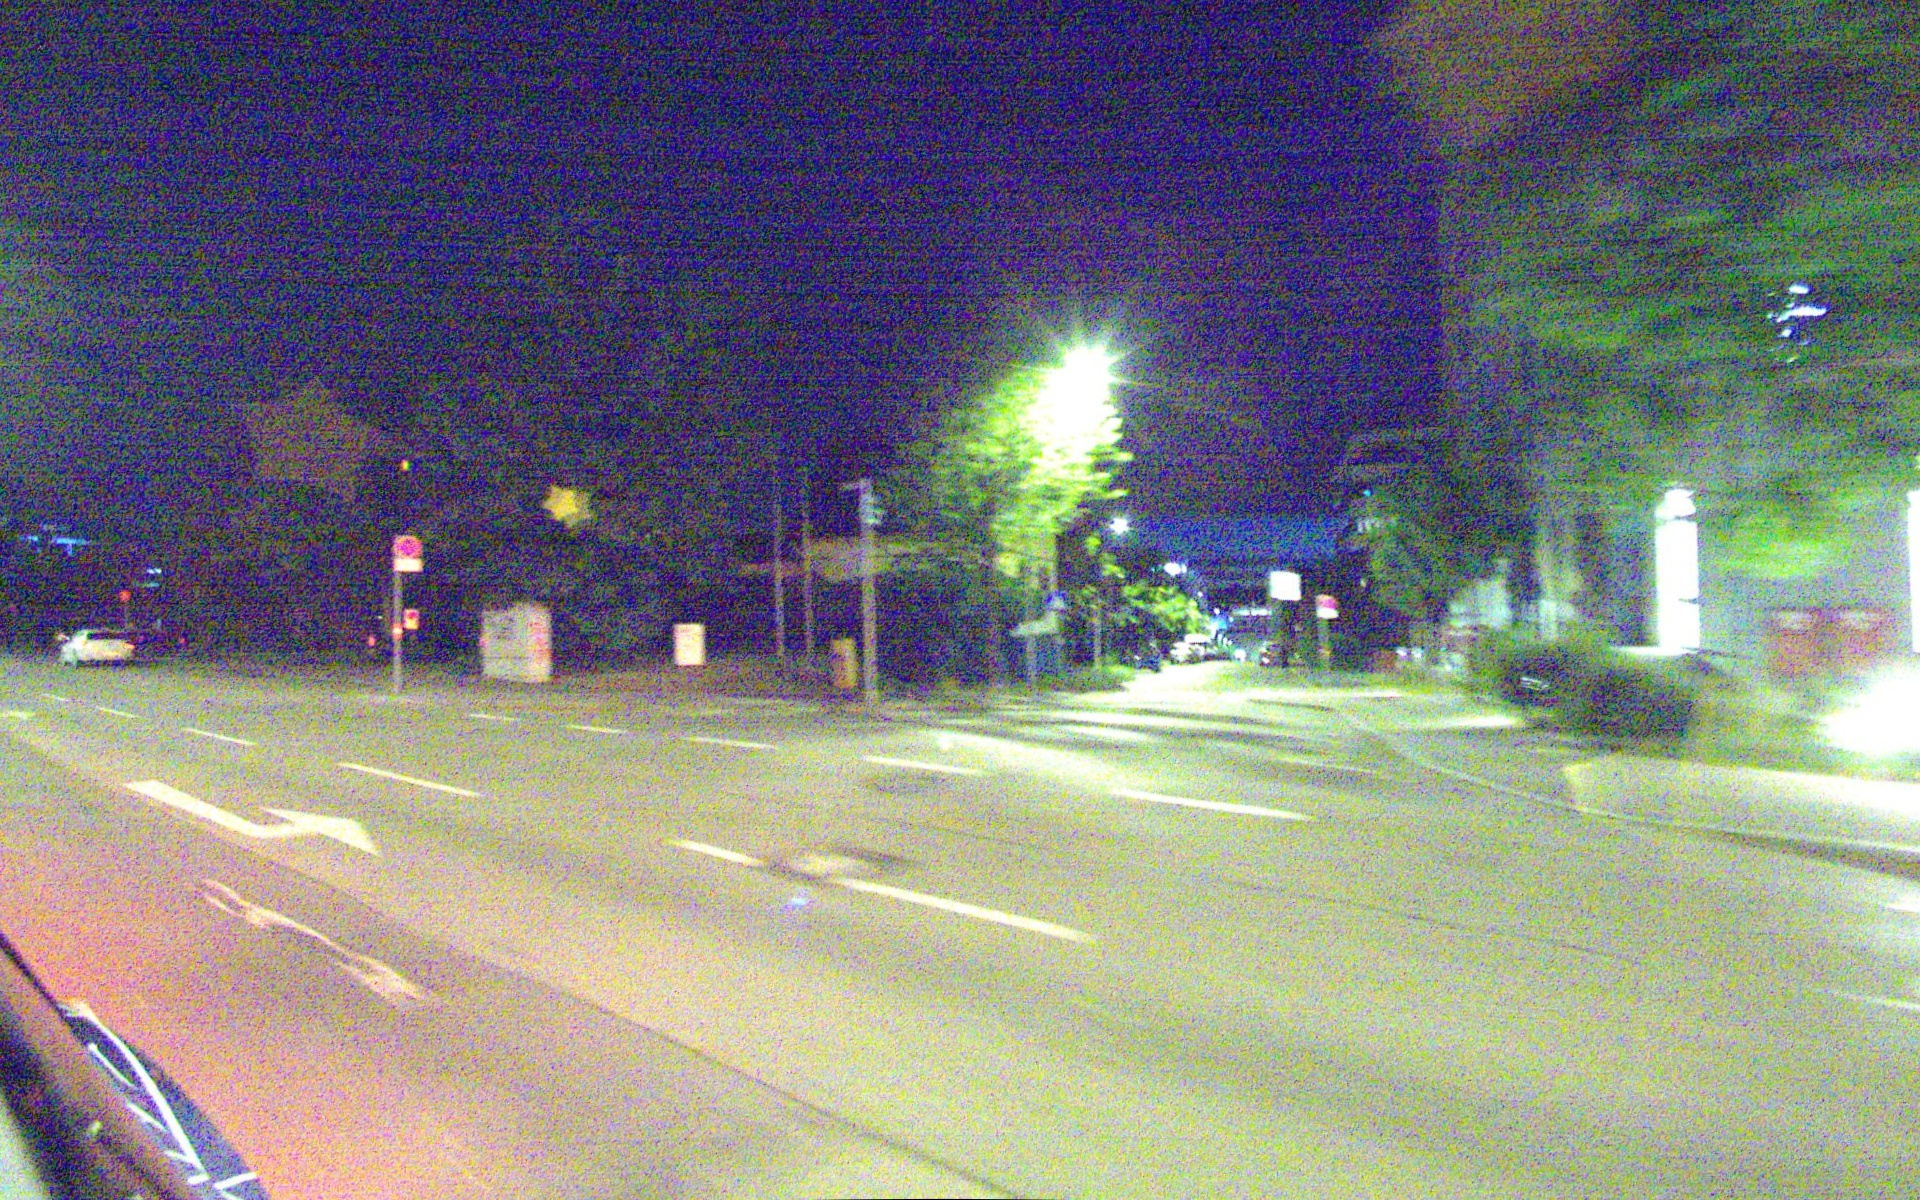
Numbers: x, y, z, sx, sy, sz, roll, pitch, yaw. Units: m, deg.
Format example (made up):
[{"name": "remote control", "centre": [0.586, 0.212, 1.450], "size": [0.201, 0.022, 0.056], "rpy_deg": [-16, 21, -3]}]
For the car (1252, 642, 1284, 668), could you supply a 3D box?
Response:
[{"name": "car", "centre": [21.615, 3.829, 71.054], "size": [1.860, 1.654, 3.982], "rpy_deg": [-1, -1, 14]}]

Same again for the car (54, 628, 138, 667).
[{"name": "car", "centre": [-33.389, 1.806, 39.065], "size": [4.336, 1.414, 1.891], "rpy_deg": [-2, -2, 42]}]

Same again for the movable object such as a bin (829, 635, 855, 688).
[{"name": "movable object such as a bin", "centre": [-3.023, 1.576, 25.999], "size": [0.561, 1.317, 0.620], "rpy_deg": [1, -3, 3]}]

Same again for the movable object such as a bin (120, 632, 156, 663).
[{"name": "movable object such as a bin", "centre": [-40.782, 2.366, 50.208], "size": [1.064, 1.507, 1.153], "rpy_deg": [-2, -2, 38]}]

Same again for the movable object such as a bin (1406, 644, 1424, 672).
[{"name": "movable object such as a bin", "centre": [21.374, 2.713, 47.536], "size": [0.561, 1.317, 0.620], "rpy_deg": [1, -3, 3]}]

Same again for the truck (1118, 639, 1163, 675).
[{"name": "truck", "centre": [10.065, 3.125, 56.218], "size": [1.983, 1.807, 3.978], "rpy_deg": [2, -2, 16]}]

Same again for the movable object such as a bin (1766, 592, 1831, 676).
[{"name": "movable object such as a bin", "centre": [14.242, 0.580, 17.197], "size": [0.732, 1.381, 0.352], "rpy_deg": [-6, -6, 42]}]

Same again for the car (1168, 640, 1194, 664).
[{"name": "car", "centre": [17.422, 4.090, 79.759], "size": [1.820, 1.725, 3.896], "rpy_deg": [-3, -3, 14]}]

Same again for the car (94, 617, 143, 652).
[{"name": "car", "centre": [-58.112, 2.406, 69.860], "size": [4.626, 2.339, 2.182], "rpy_deg": [-2, -3, 45]}]

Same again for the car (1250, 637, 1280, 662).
[{"name": "car", "centre": [22.993, 3.705, 76.478], "size": [1.981, 1.850, 3.982], "rpy_deg": [0, -2, 14]}]

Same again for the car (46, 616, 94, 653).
[{"name": "car", "centre": [-59.053, 2.314, 67.089], "size": [4.968, 2.339, 1.971], "rpy_deg": [-2, -4, 45]}]

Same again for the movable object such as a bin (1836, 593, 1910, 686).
[{"name": "movable object such as a bin", "centre": [14.811, 0.646, 16.426], "size": [0.809, 1.463, 0.435], "rpy_deg": [-4, -4, 45]}]
